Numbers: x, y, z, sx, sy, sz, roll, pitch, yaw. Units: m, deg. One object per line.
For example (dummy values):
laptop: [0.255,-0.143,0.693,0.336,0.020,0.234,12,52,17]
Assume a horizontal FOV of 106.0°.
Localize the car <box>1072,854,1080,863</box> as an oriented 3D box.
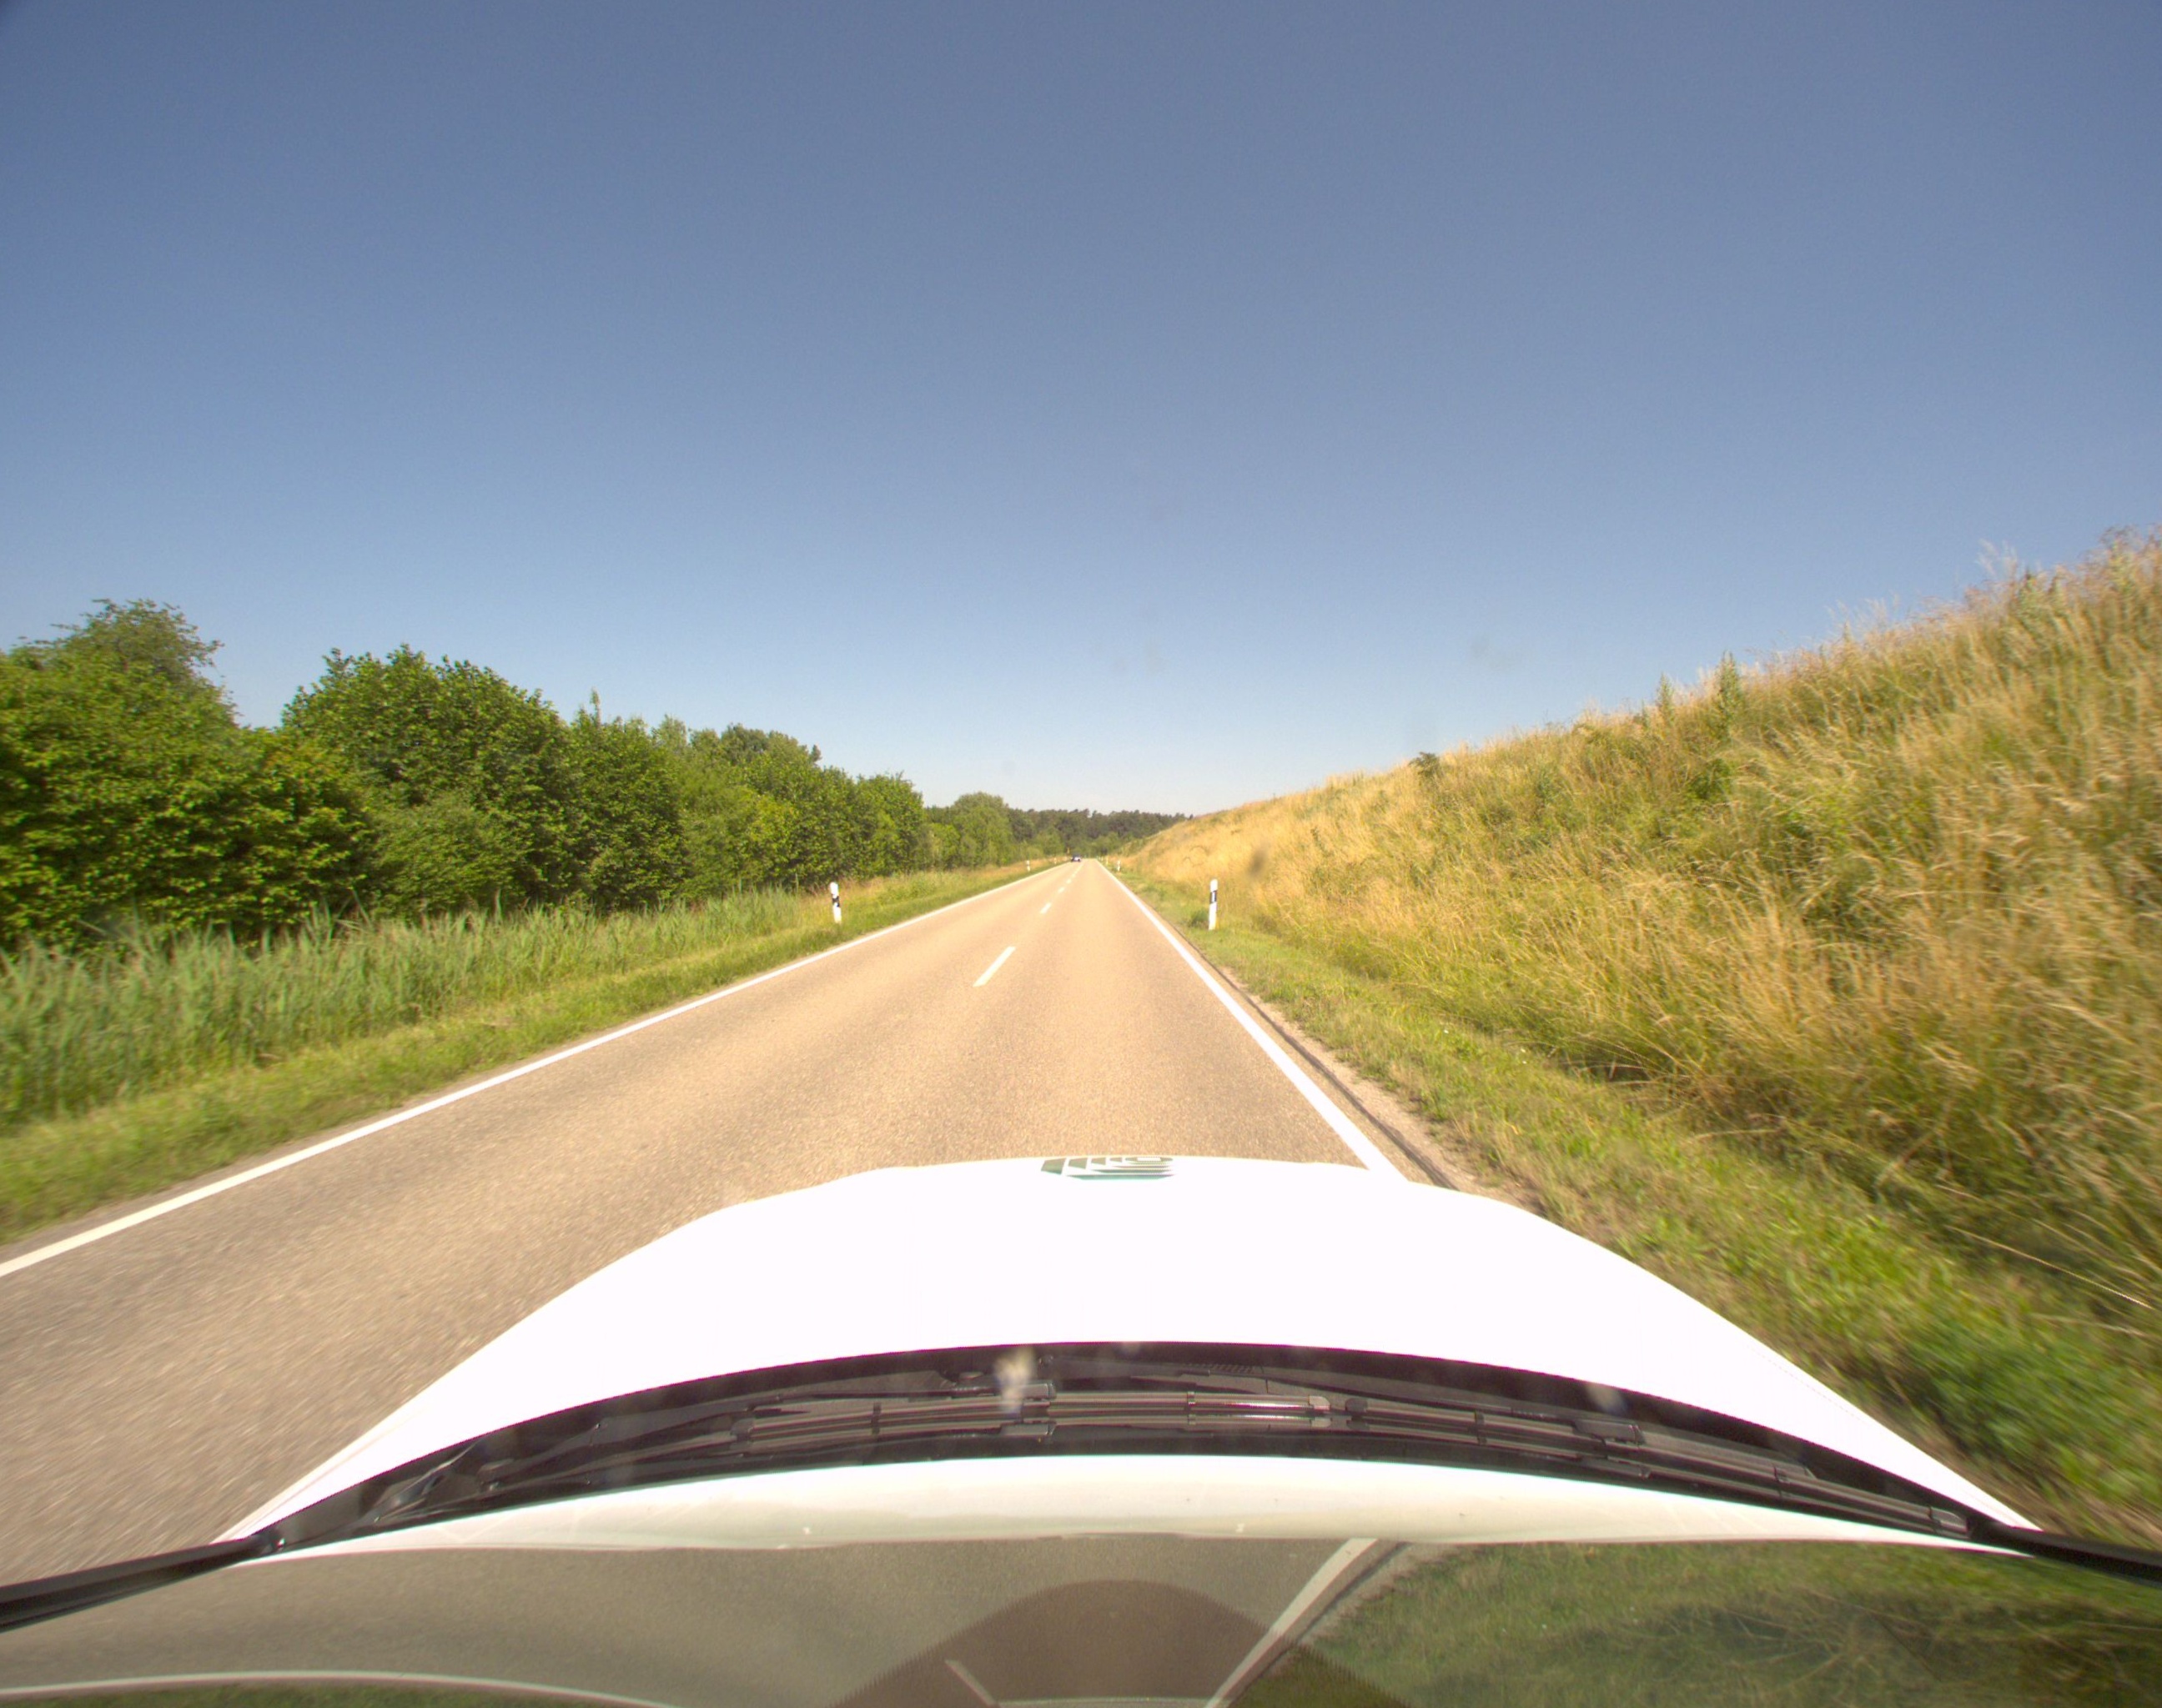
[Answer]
car: [-1.002,0.900,162.415,1.710,1.647,3.914,0,0,0]
